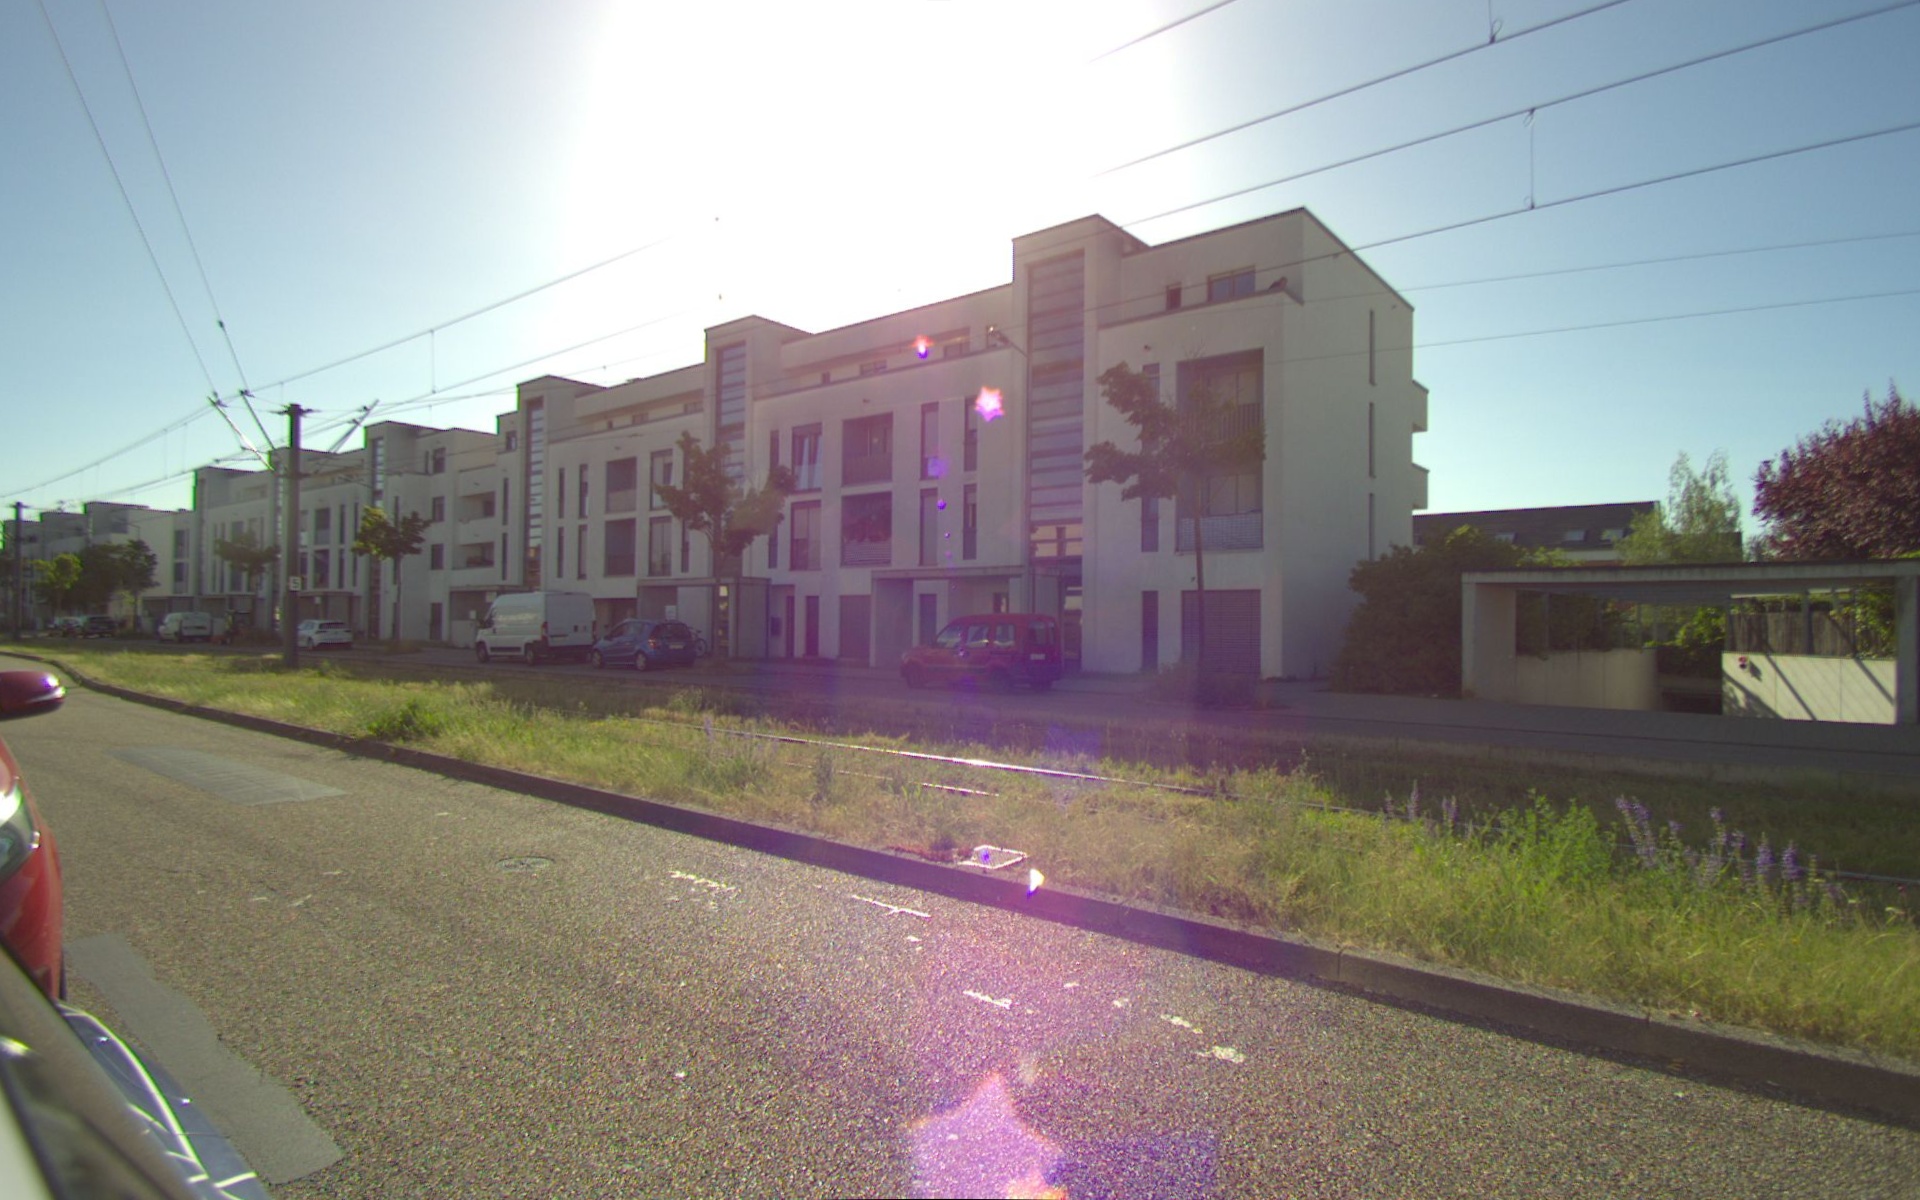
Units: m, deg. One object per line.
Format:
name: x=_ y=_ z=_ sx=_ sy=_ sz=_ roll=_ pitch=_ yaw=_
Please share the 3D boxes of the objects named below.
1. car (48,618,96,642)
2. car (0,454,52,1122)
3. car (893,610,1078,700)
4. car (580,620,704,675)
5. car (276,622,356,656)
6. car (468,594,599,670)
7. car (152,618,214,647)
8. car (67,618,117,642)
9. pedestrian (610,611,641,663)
car: x=-67.528 y=2.246 z=76.947 sx=4.277 sy=1.693 sz=1.900 roll=-1 pitch=0 yaw=37
car: x=-4.915 y=0.553 z=3.701 sx=4.505 sy=1.868 sz=1.850 roll=-1 pitch=0 yaw=41
car: x=0.531 y=1.163 z=23.035 sx=3.895 sy=1.842 sz=1.972 roll=-1 pitch=0 yaw=43
car: x=-10.007 y=1.442 z=31.756 sx=3.833 sy=1.556 sz=1.973 roll=-1 pitch=0 yaw=40
car: x=-31.142 y=1.831 z=48.916 sx=4.277 sy=1.517 sz=1.900 roll=-1 pitch=0 yaw=37
car: x=-15.202 y=1.069 z=35.961 sx=5.193 sy=2.491 sz=2.197 roll=-1 pitch=0 yaw=40
car: x=-47.362 y=1.953 z=61.642 sx=4.277 sy=1.693 sz=1.900 roll=-1 pitch=0 yaw=37
car: x=-62.983 y=2.156 z=73.423 sx=4.277 sy=1.693 sz=1.900 roll=-1 pitch=0 yaw=37
pedestrian: x=-11.965 y=1.317 z=36.200 sx=0.785 sy=1.836 sz=0.766 roll=-1 pitch=0 yaw=41
